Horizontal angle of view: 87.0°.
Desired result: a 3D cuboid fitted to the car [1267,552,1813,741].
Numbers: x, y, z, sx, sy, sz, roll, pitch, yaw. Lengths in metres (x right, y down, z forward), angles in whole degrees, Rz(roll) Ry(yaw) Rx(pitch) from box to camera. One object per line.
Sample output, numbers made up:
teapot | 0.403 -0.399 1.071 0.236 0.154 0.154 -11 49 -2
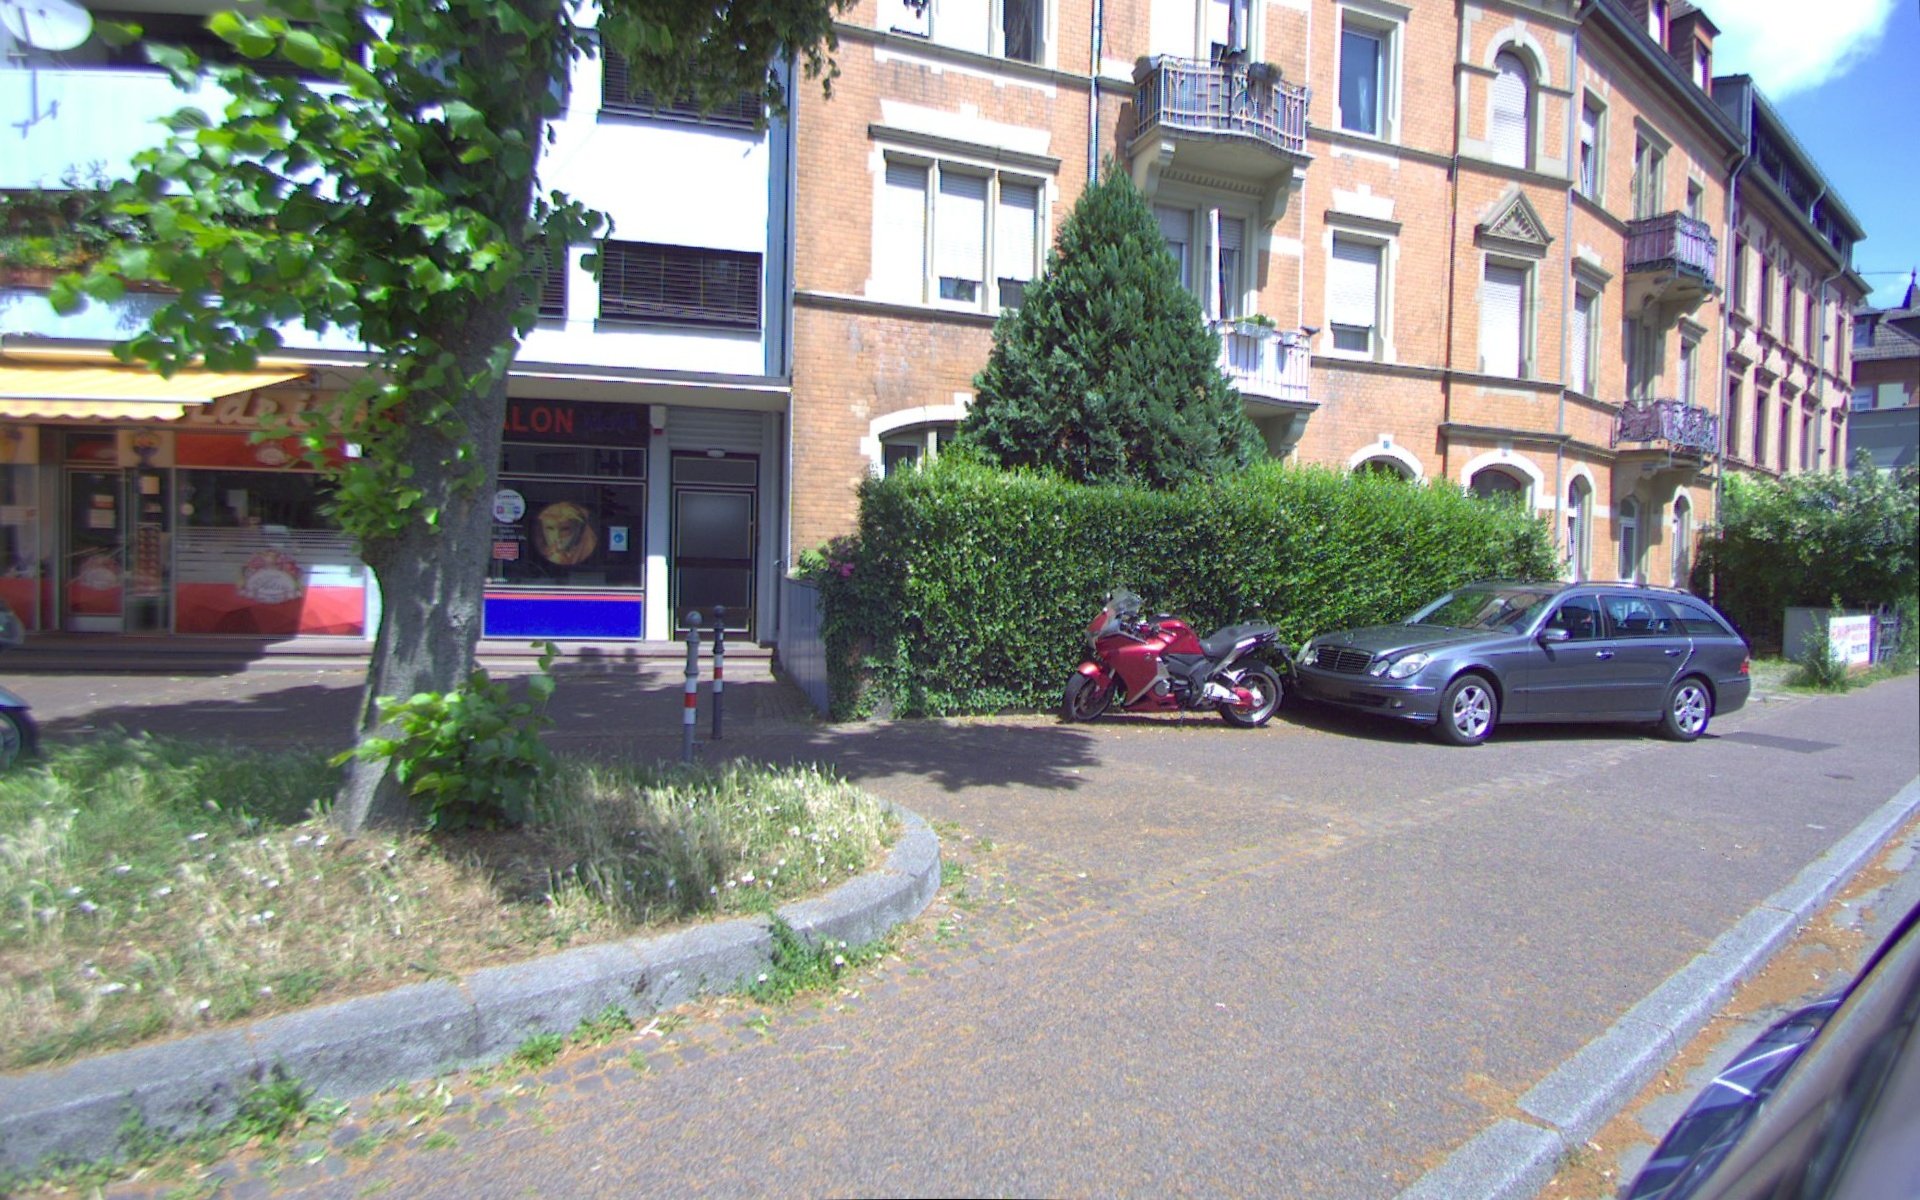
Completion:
car | 5.788 0.425 10.106 5.047 1.567 1.845 2 2 -20

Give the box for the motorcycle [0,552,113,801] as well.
motorcycle | -6.260 0.392 5.649 2.179 1.329 0.920 0 0 -11

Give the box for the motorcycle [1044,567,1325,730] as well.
motorcycle | 1.994 0.420 9.048 2.232 1.318 0.935 2 2 -19
